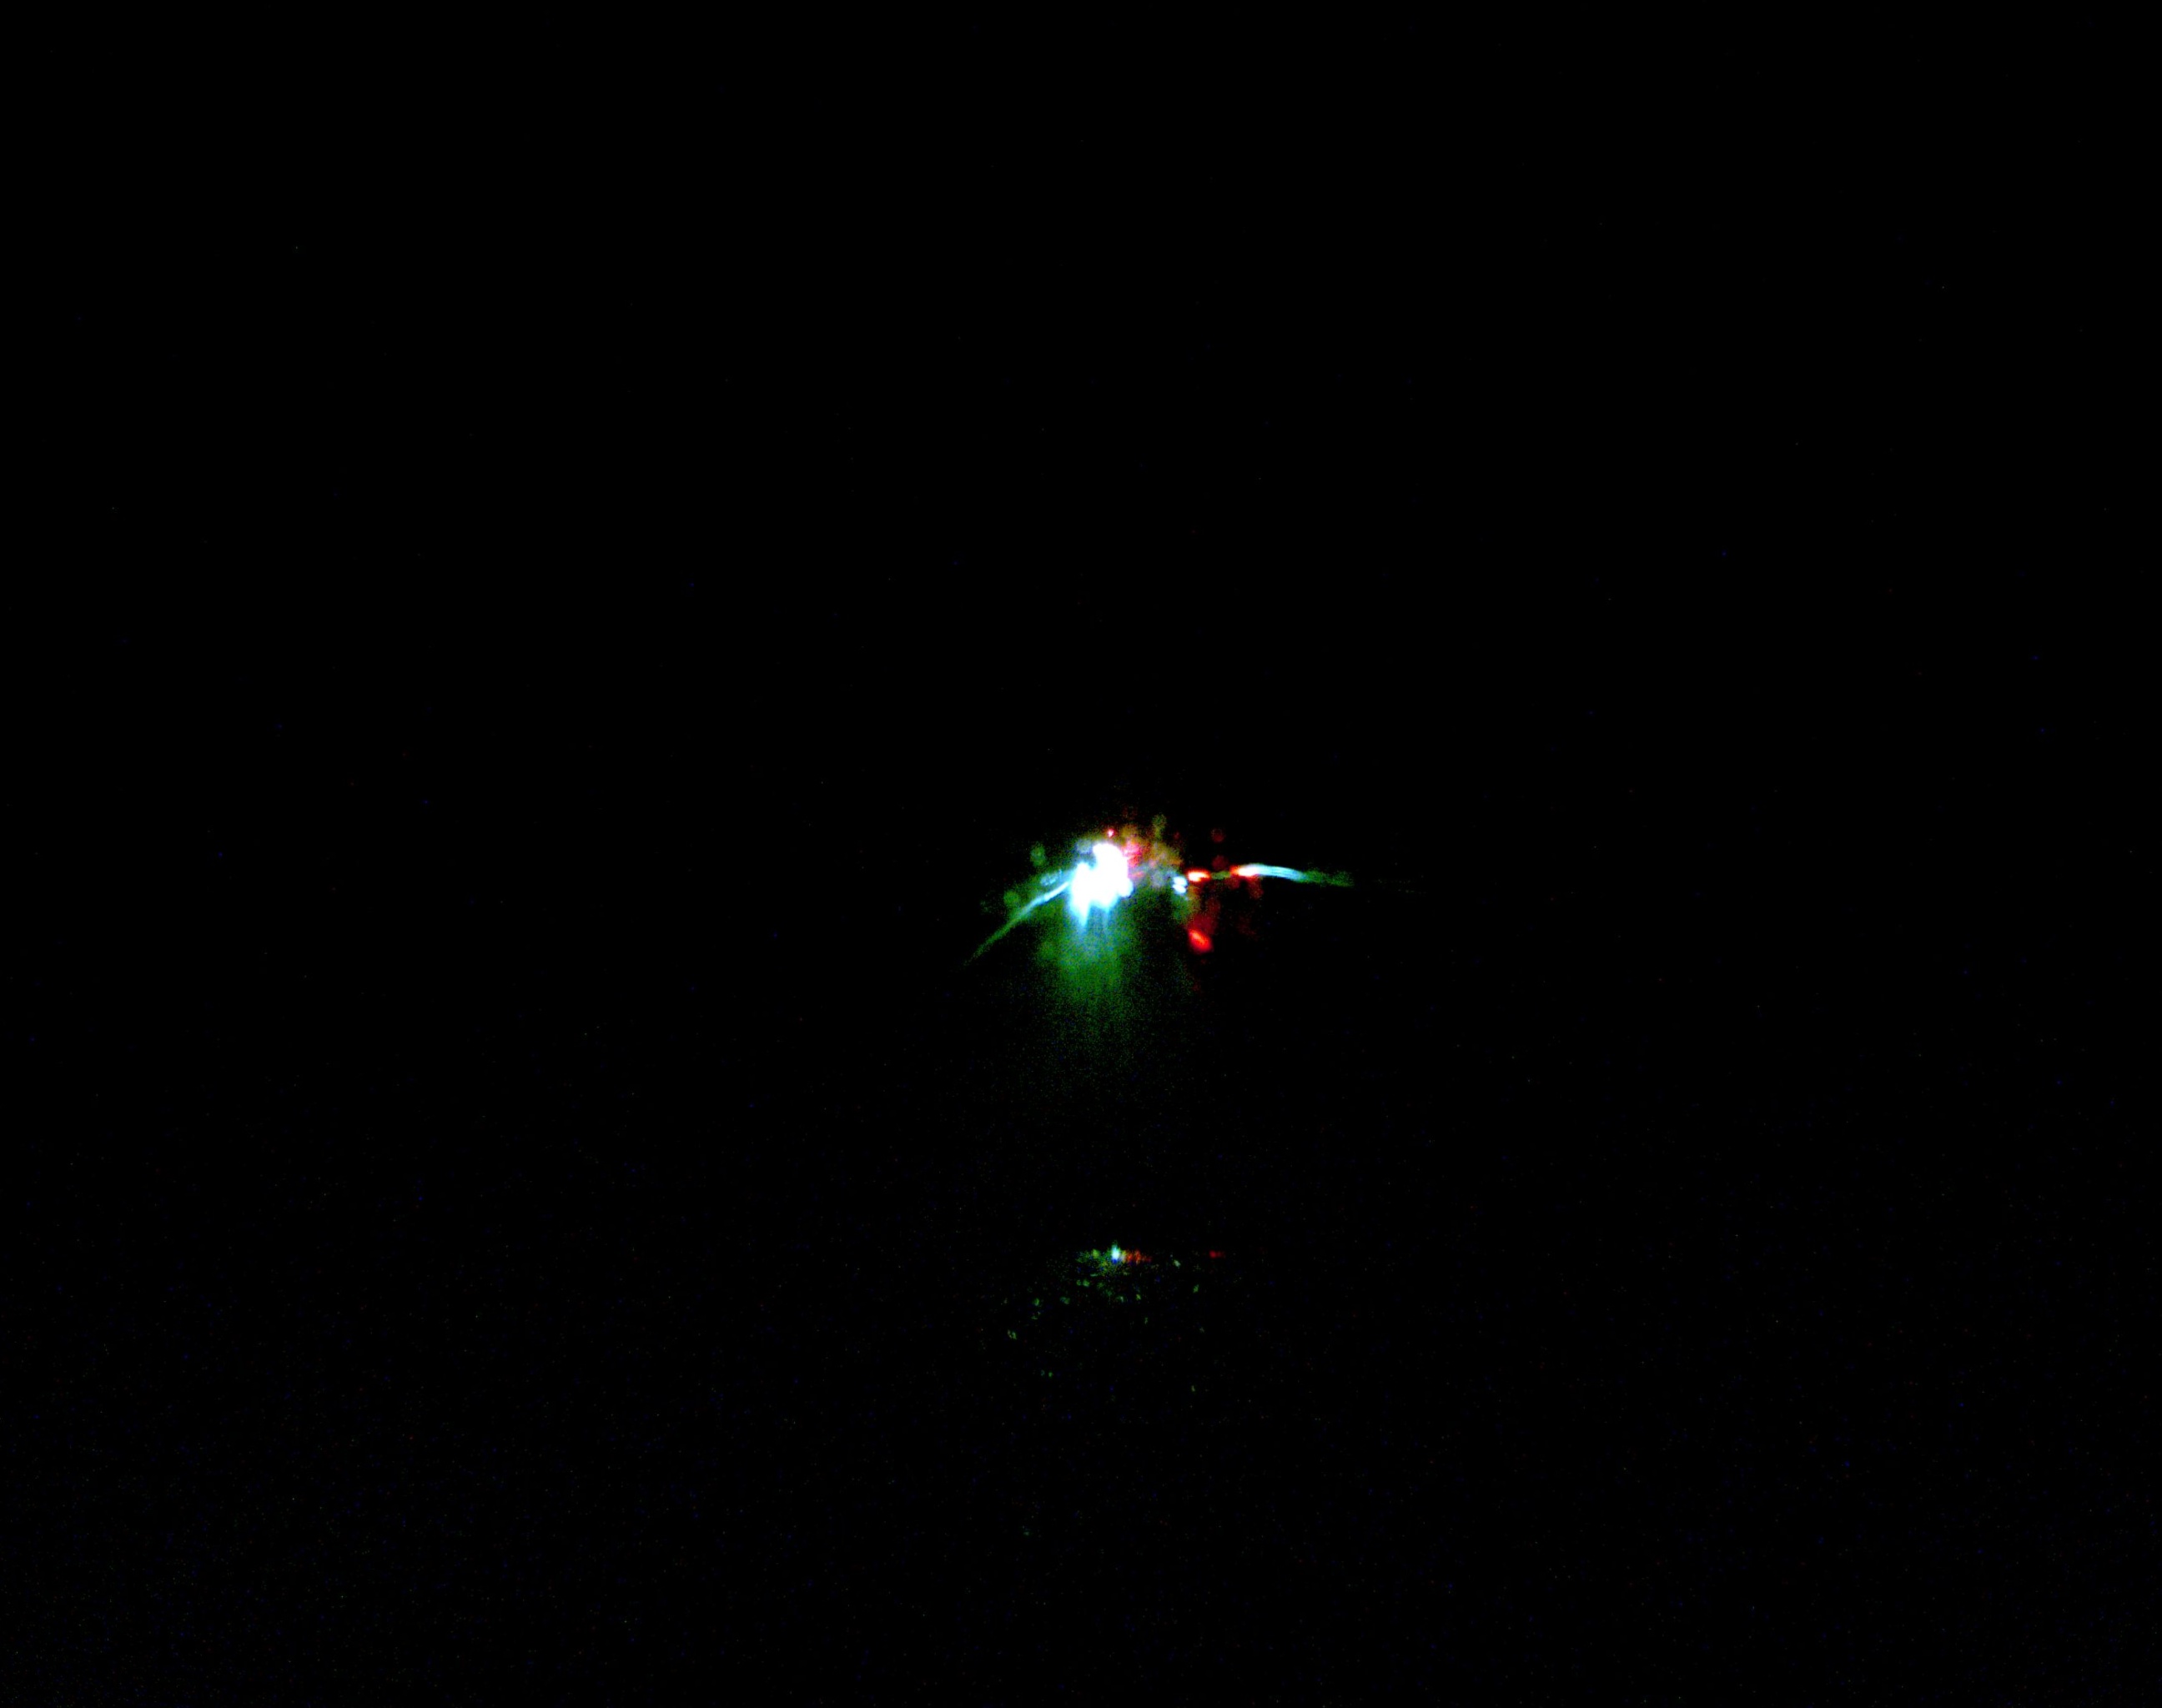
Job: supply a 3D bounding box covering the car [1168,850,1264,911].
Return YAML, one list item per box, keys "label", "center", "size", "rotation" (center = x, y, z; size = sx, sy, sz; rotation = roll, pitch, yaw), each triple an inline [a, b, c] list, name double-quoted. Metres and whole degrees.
- label: "car"
  center: [3.808, 0.709, 22.205]
  size: [1.998, 1.488, 4.357]
  rotation: [-3, 0, 1]

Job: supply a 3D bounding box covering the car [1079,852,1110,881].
- label: "car"
  center: [0.970, 0.830, 53.568]
  size: [1.998, 1.804, 4.000]
  rotation: [-4, 0, 2]

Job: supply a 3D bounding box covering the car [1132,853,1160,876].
- label: "car"
  center: [4.640, 0.720, 54.481]
  size: [1.720, 1.545, 4.000]
  rotation: [-3, 0, 2]

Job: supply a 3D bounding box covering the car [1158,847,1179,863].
- label: "car"
  center: [9.410, 0.072, 82.152]
  size: [1.835, 1.545, 4.442]
  rotation: [-3, 0, 1]

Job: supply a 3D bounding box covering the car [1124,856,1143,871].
- label: "car"
  center: [5.600, 0.969, 81.252]
  size: [1.835, 1.545, 4.442]
  rotation: [-2, 0, 1]

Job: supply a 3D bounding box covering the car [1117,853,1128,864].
- label: "car"
  center: [7.003, 0.752, 129.068]
  size: [1.790, 1.623, 4.426]
  rotation: [-3, 0, 2]
